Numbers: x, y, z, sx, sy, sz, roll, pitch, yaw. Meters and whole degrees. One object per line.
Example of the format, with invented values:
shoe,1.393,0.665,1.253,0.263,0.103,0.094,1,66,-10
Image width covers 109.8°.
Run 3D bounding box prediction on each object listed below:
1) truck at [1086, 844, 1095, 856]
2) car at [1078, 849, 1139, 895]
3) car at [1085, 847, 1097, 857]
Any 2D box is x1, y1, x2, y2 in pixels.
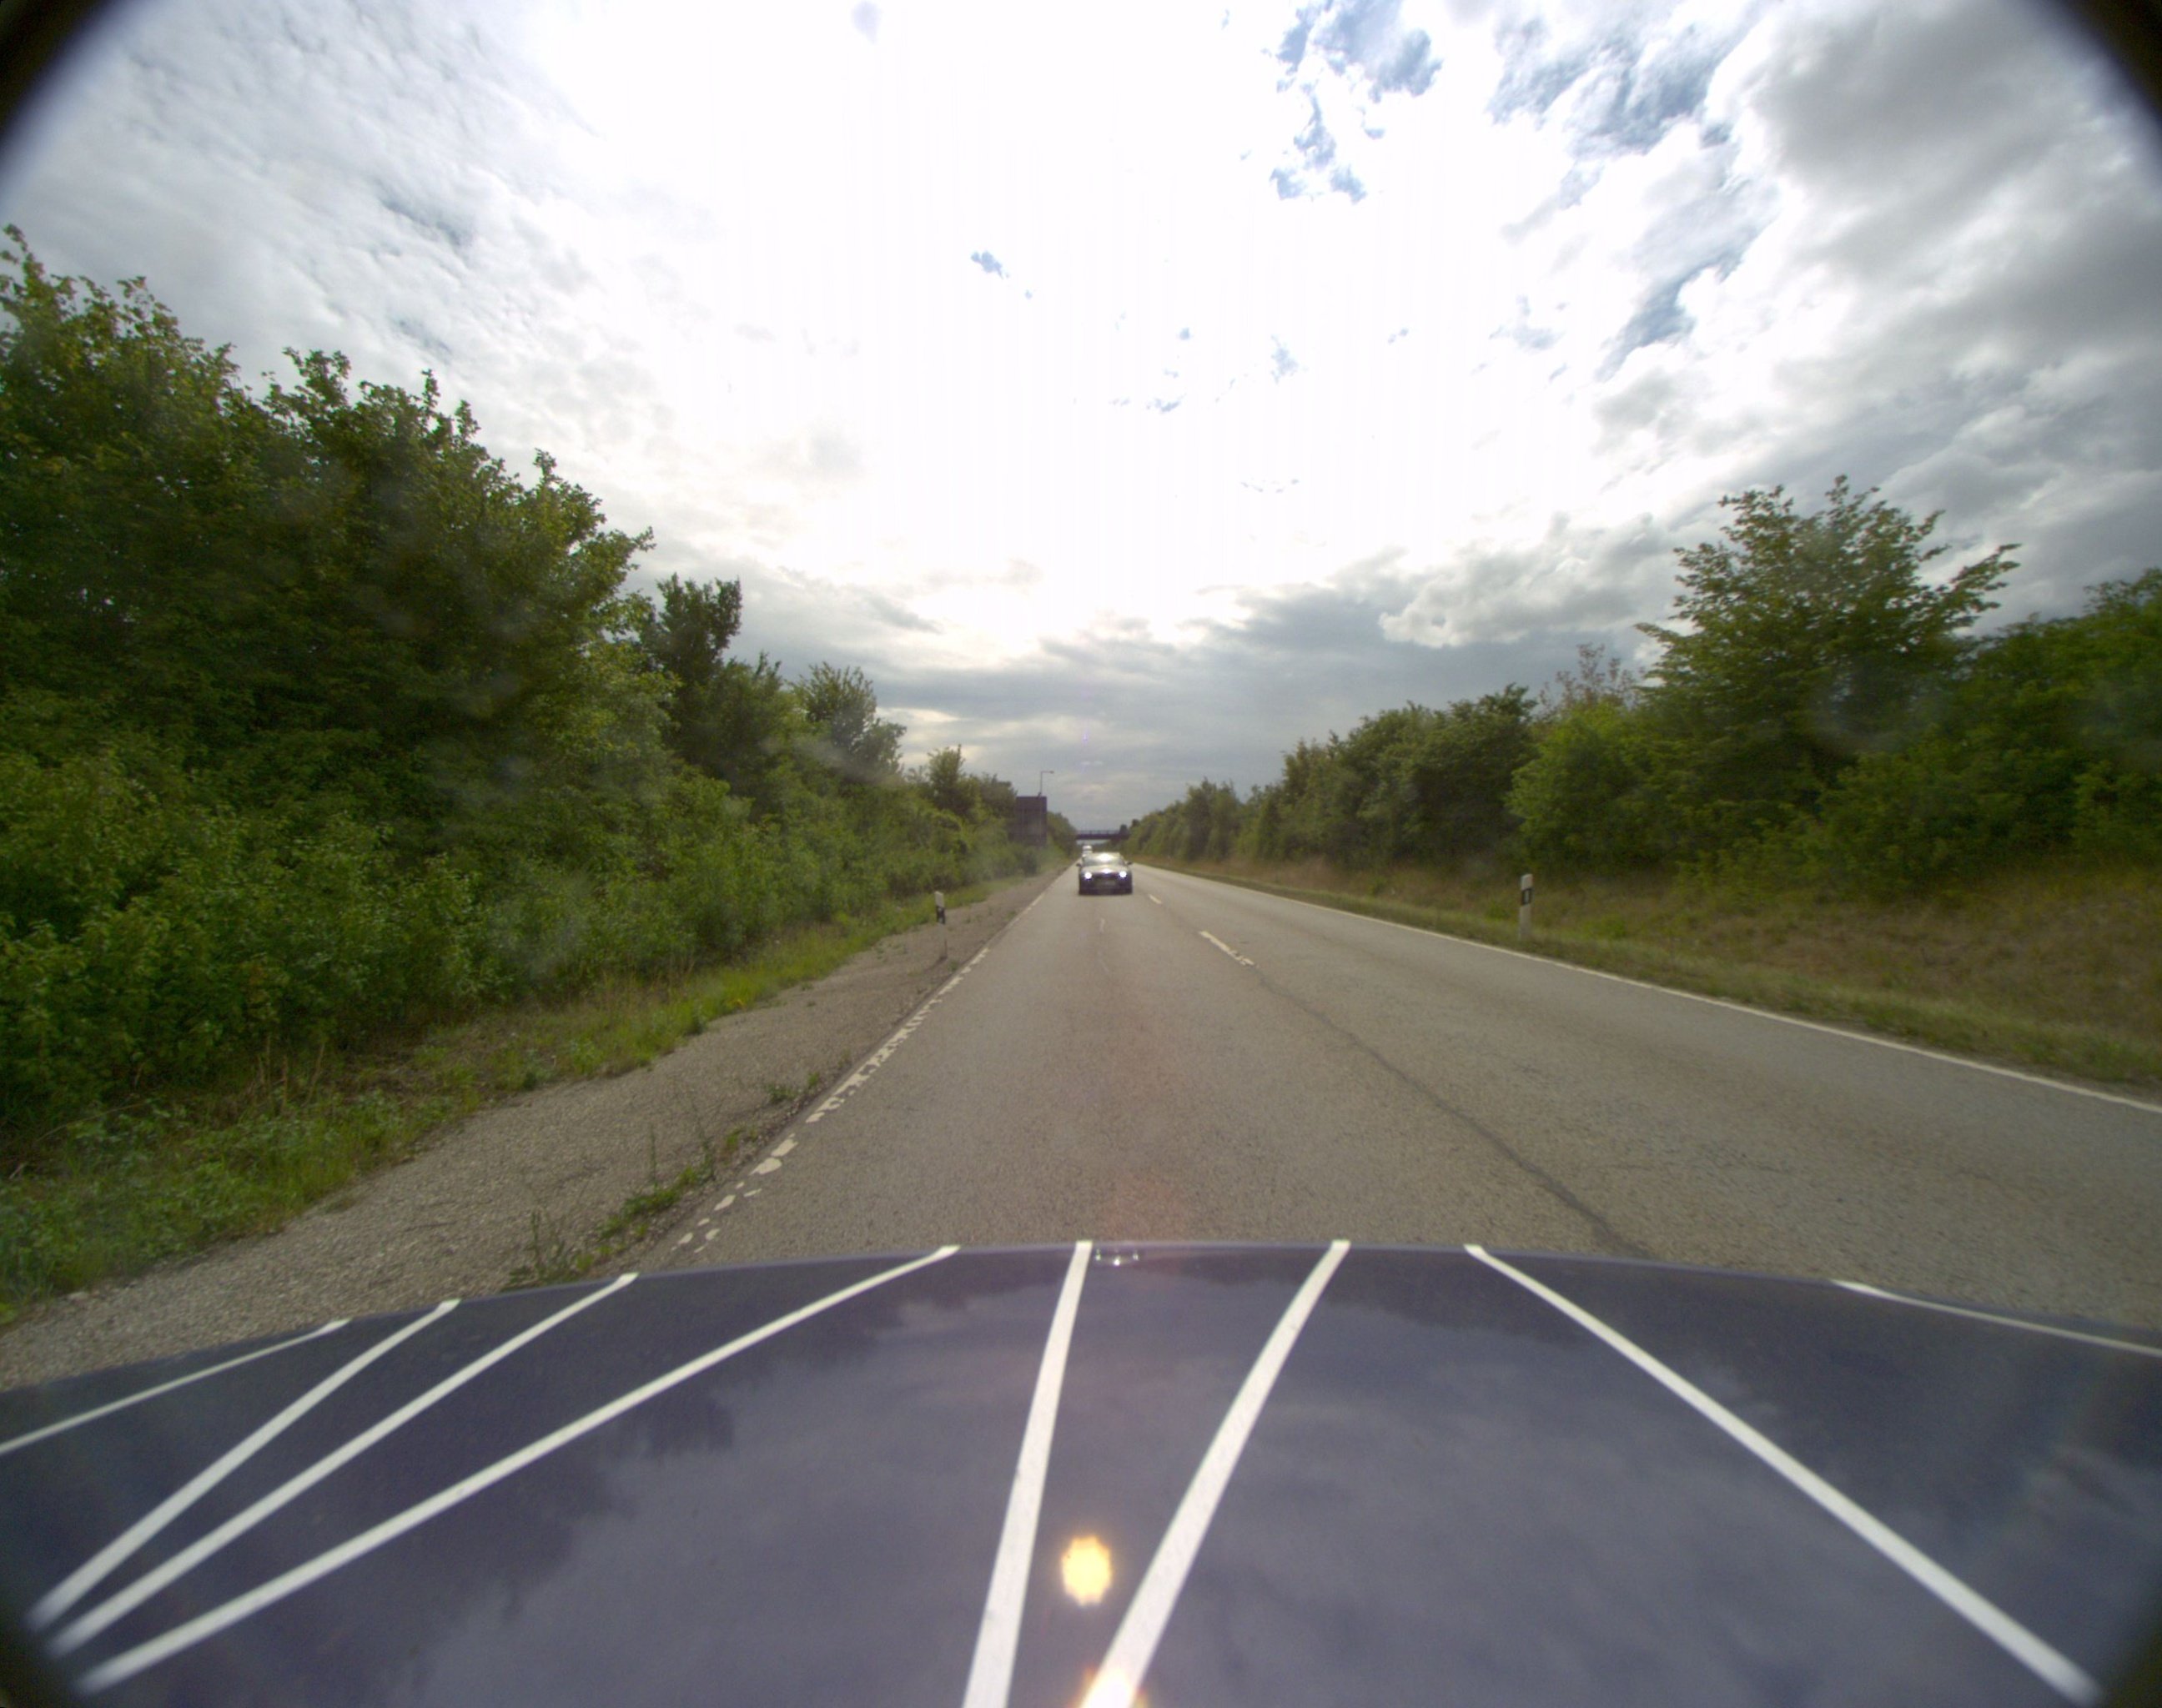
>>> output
truck,1.924,-0.851,155.603,1.802,2.518,6.684,-2,1,0
car,0.934,0.588,27.814,1.998,1.436,4.640,-2,1,0
car,1.534,-0.376,122.727,1.870,1.597,3.999,-1,1,0
